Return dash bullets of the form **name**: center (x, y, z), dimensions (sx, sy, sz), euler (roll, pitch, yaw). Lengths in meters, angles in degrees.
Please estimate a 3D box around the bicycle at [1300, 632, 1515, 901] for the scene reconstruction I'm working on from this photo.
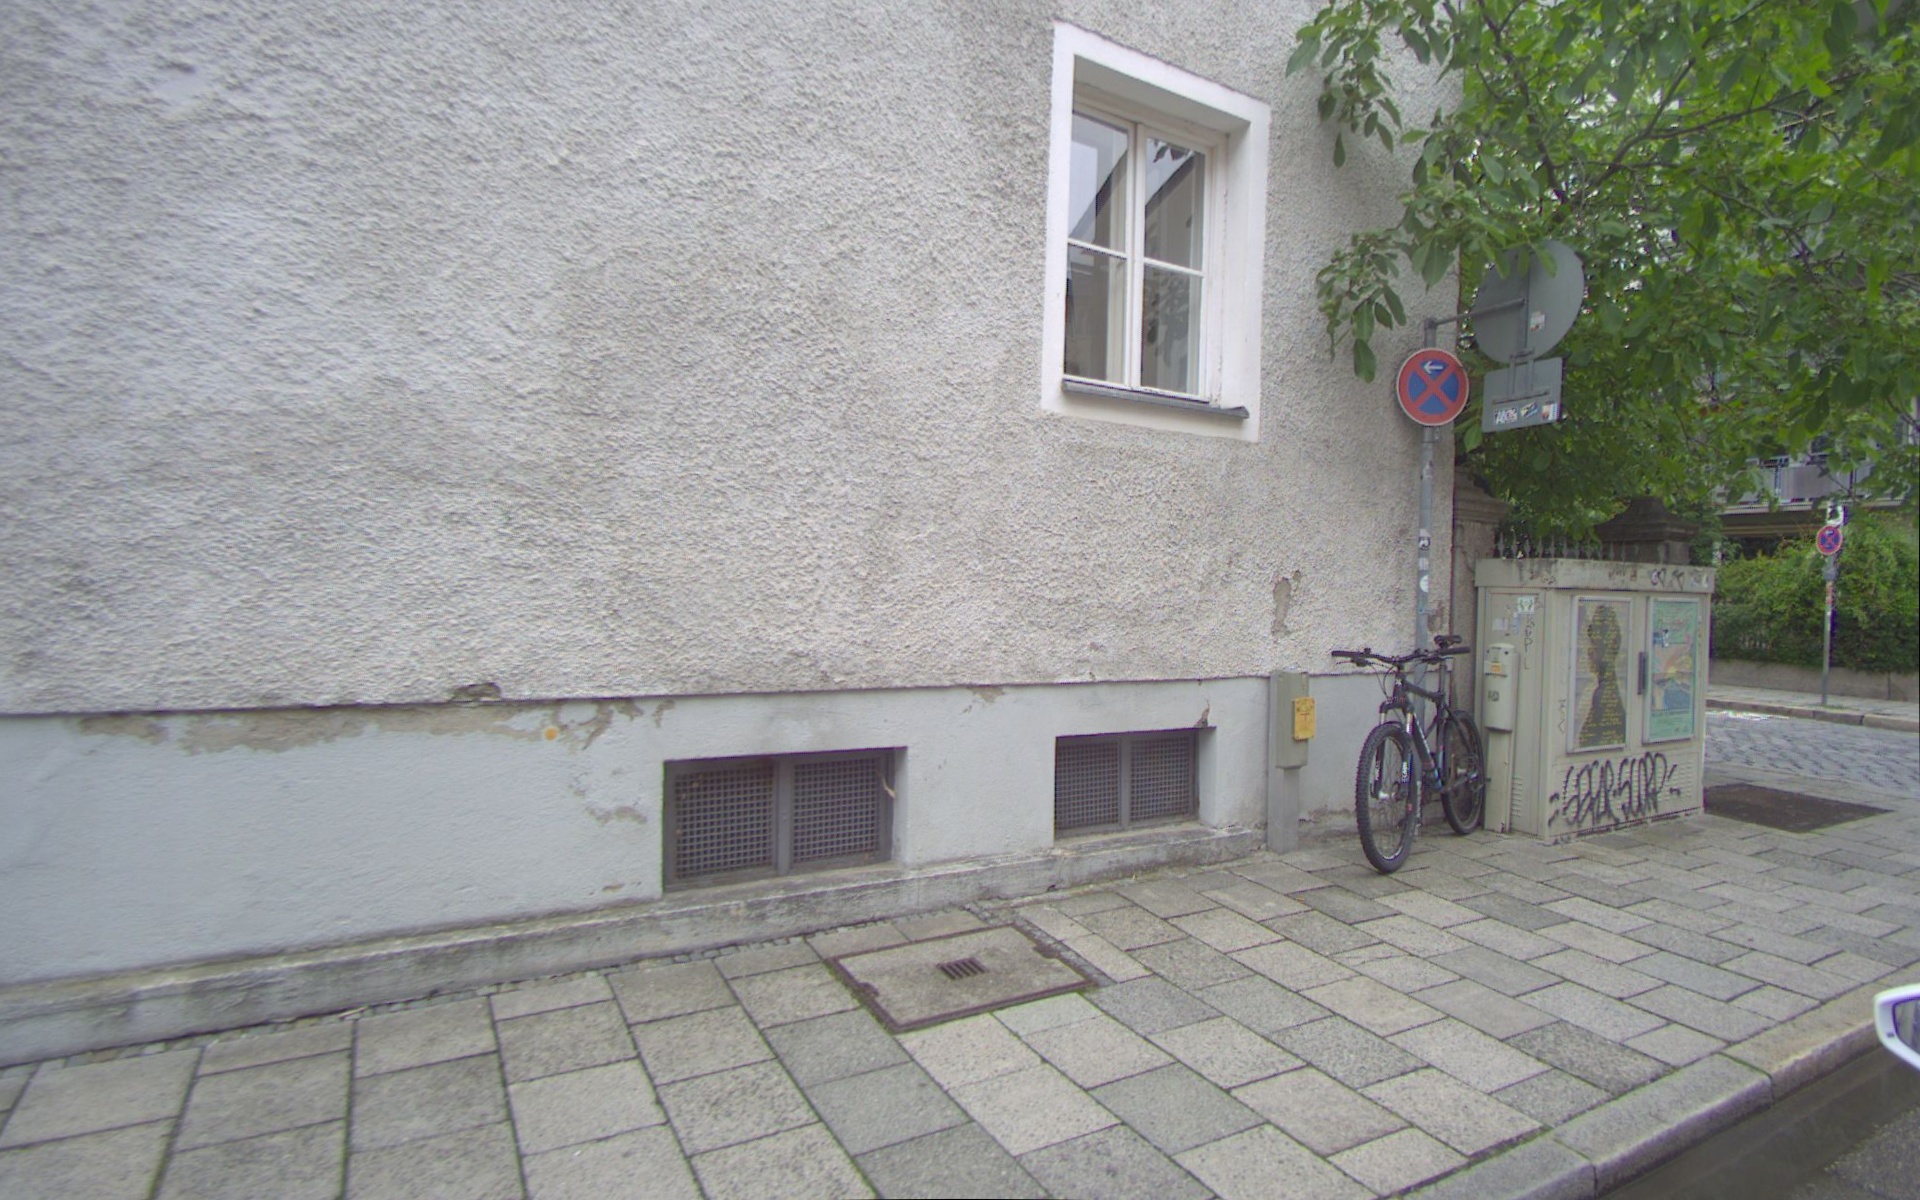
- **bicycle**: center (2.369, 0.757, 5.200), dimensions (0.467, 1.126, 1.750), euler (3, 1, 42)

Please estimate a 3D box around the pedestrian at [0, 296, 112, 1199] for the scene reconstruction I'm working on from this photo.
- **pedestrian**: center (-1.968, 0.381, 1.610), dimensions (0.814, 1.736, 0.609), euler (1, 3, -31)

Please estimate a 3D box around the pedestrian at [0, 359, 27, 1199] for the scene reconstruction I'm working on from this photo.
- **pedestrian**: center (-1.655, 0.501, 1.002), dimensions (0.896, 1.681, 0.749), euler (2, 3, -30)
